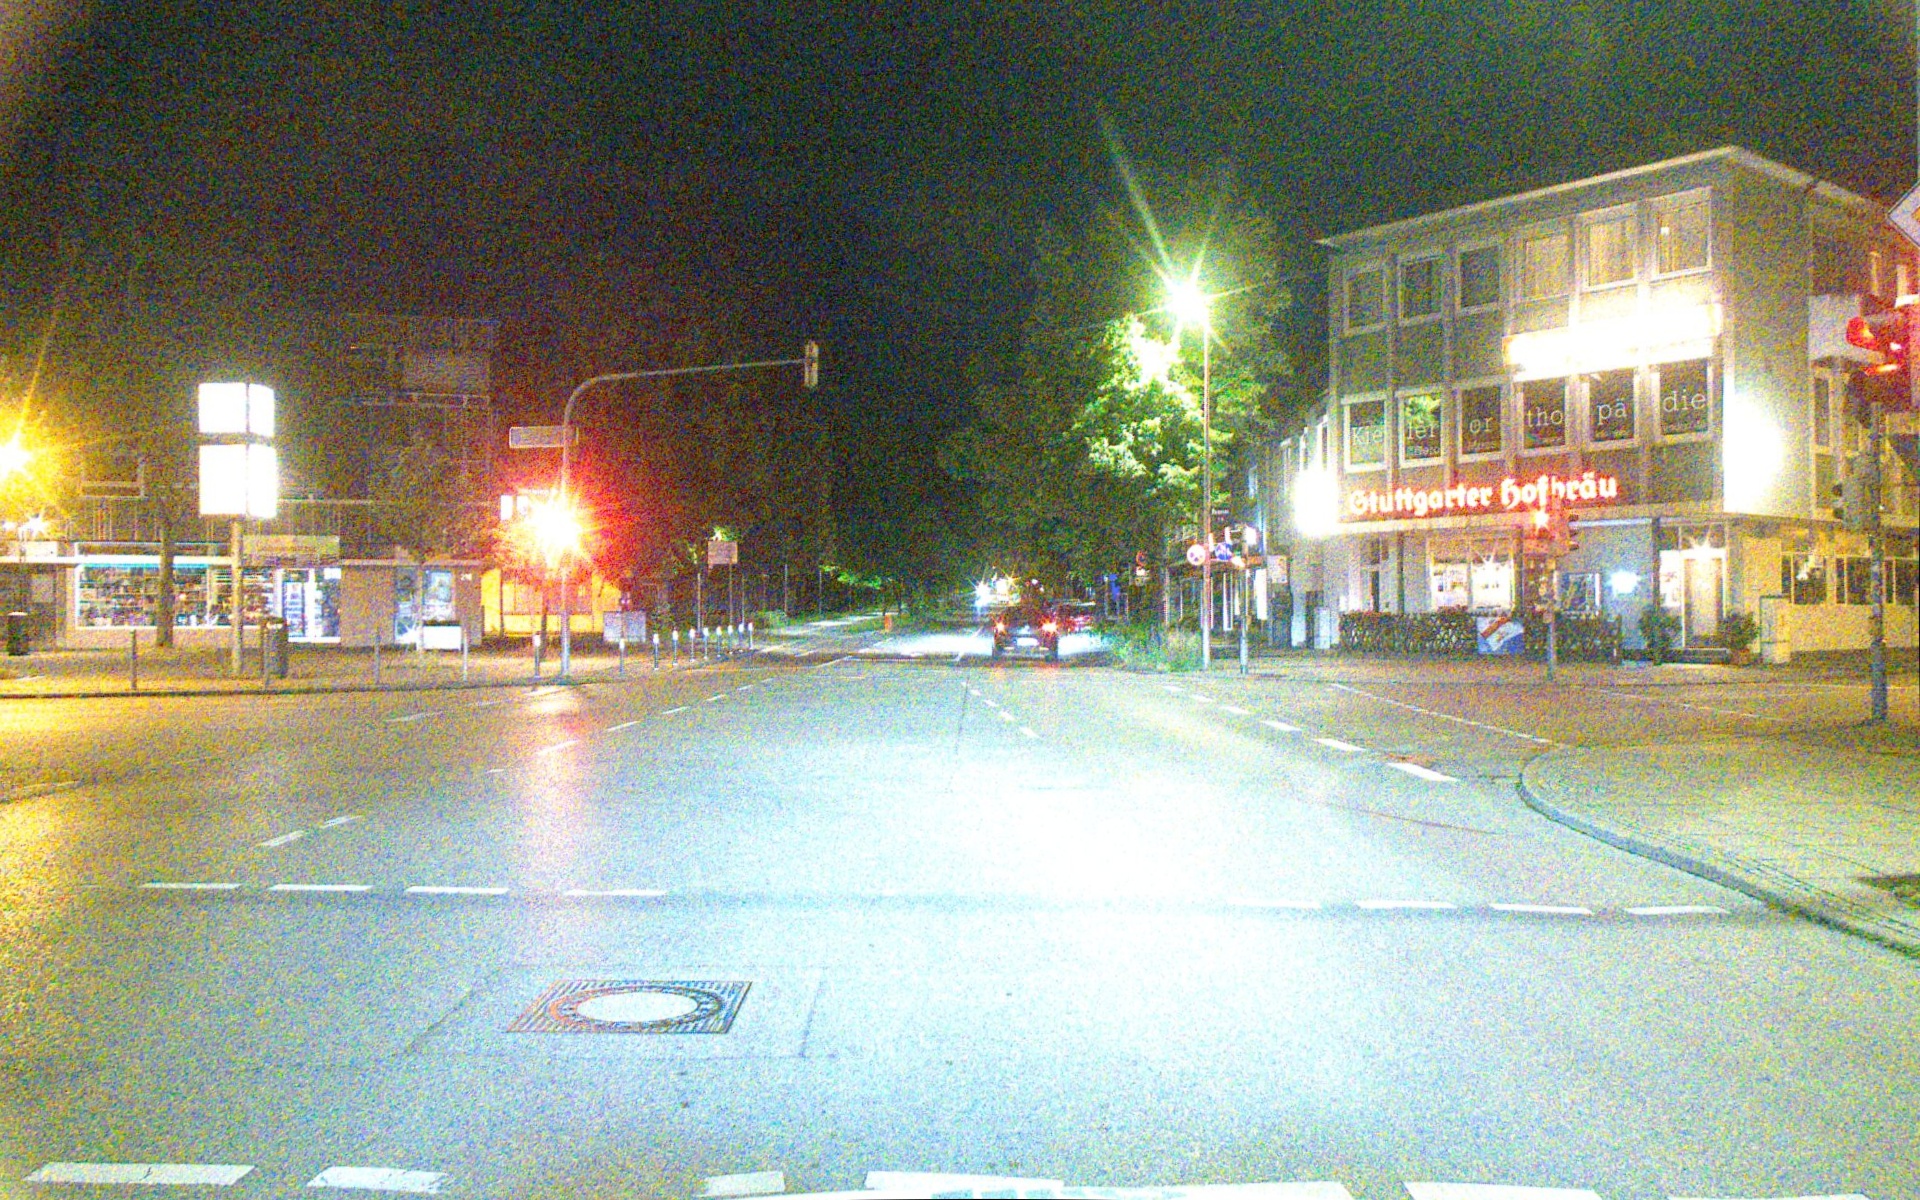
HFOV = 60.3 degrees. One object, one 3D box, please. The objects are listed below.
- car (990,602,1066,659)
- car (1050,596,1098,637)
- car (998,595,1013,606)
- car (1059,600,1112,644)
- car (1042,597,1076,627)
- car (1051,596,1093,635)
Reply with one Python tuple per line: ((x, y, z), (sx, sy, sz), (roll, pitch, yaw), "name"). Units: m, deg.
((1.835, 0.815, 45.678), (1.835, 1.479, 4.315), (1, 0, -1), "car")
((4.729, 0.681, 68.854), (1.837, 1.643, 4.001), (0, 0, 2), "car")
((6.949, 0.138, 253.298), (2.182, 1.680, 3.999), (0, 0, -1), "car")
((4.788, 0.819, 63.526), (1.837, 1.643, 4.001), (0, 0, 2), "car")
((5.663, 0.684, 94.583), (1.837, 1.713, 4.001), (0, 0, 2), "car")
((5.154, 0.710, 76.531), (1.837, 1.759, 4.001), (0, 0, 2), "car")
